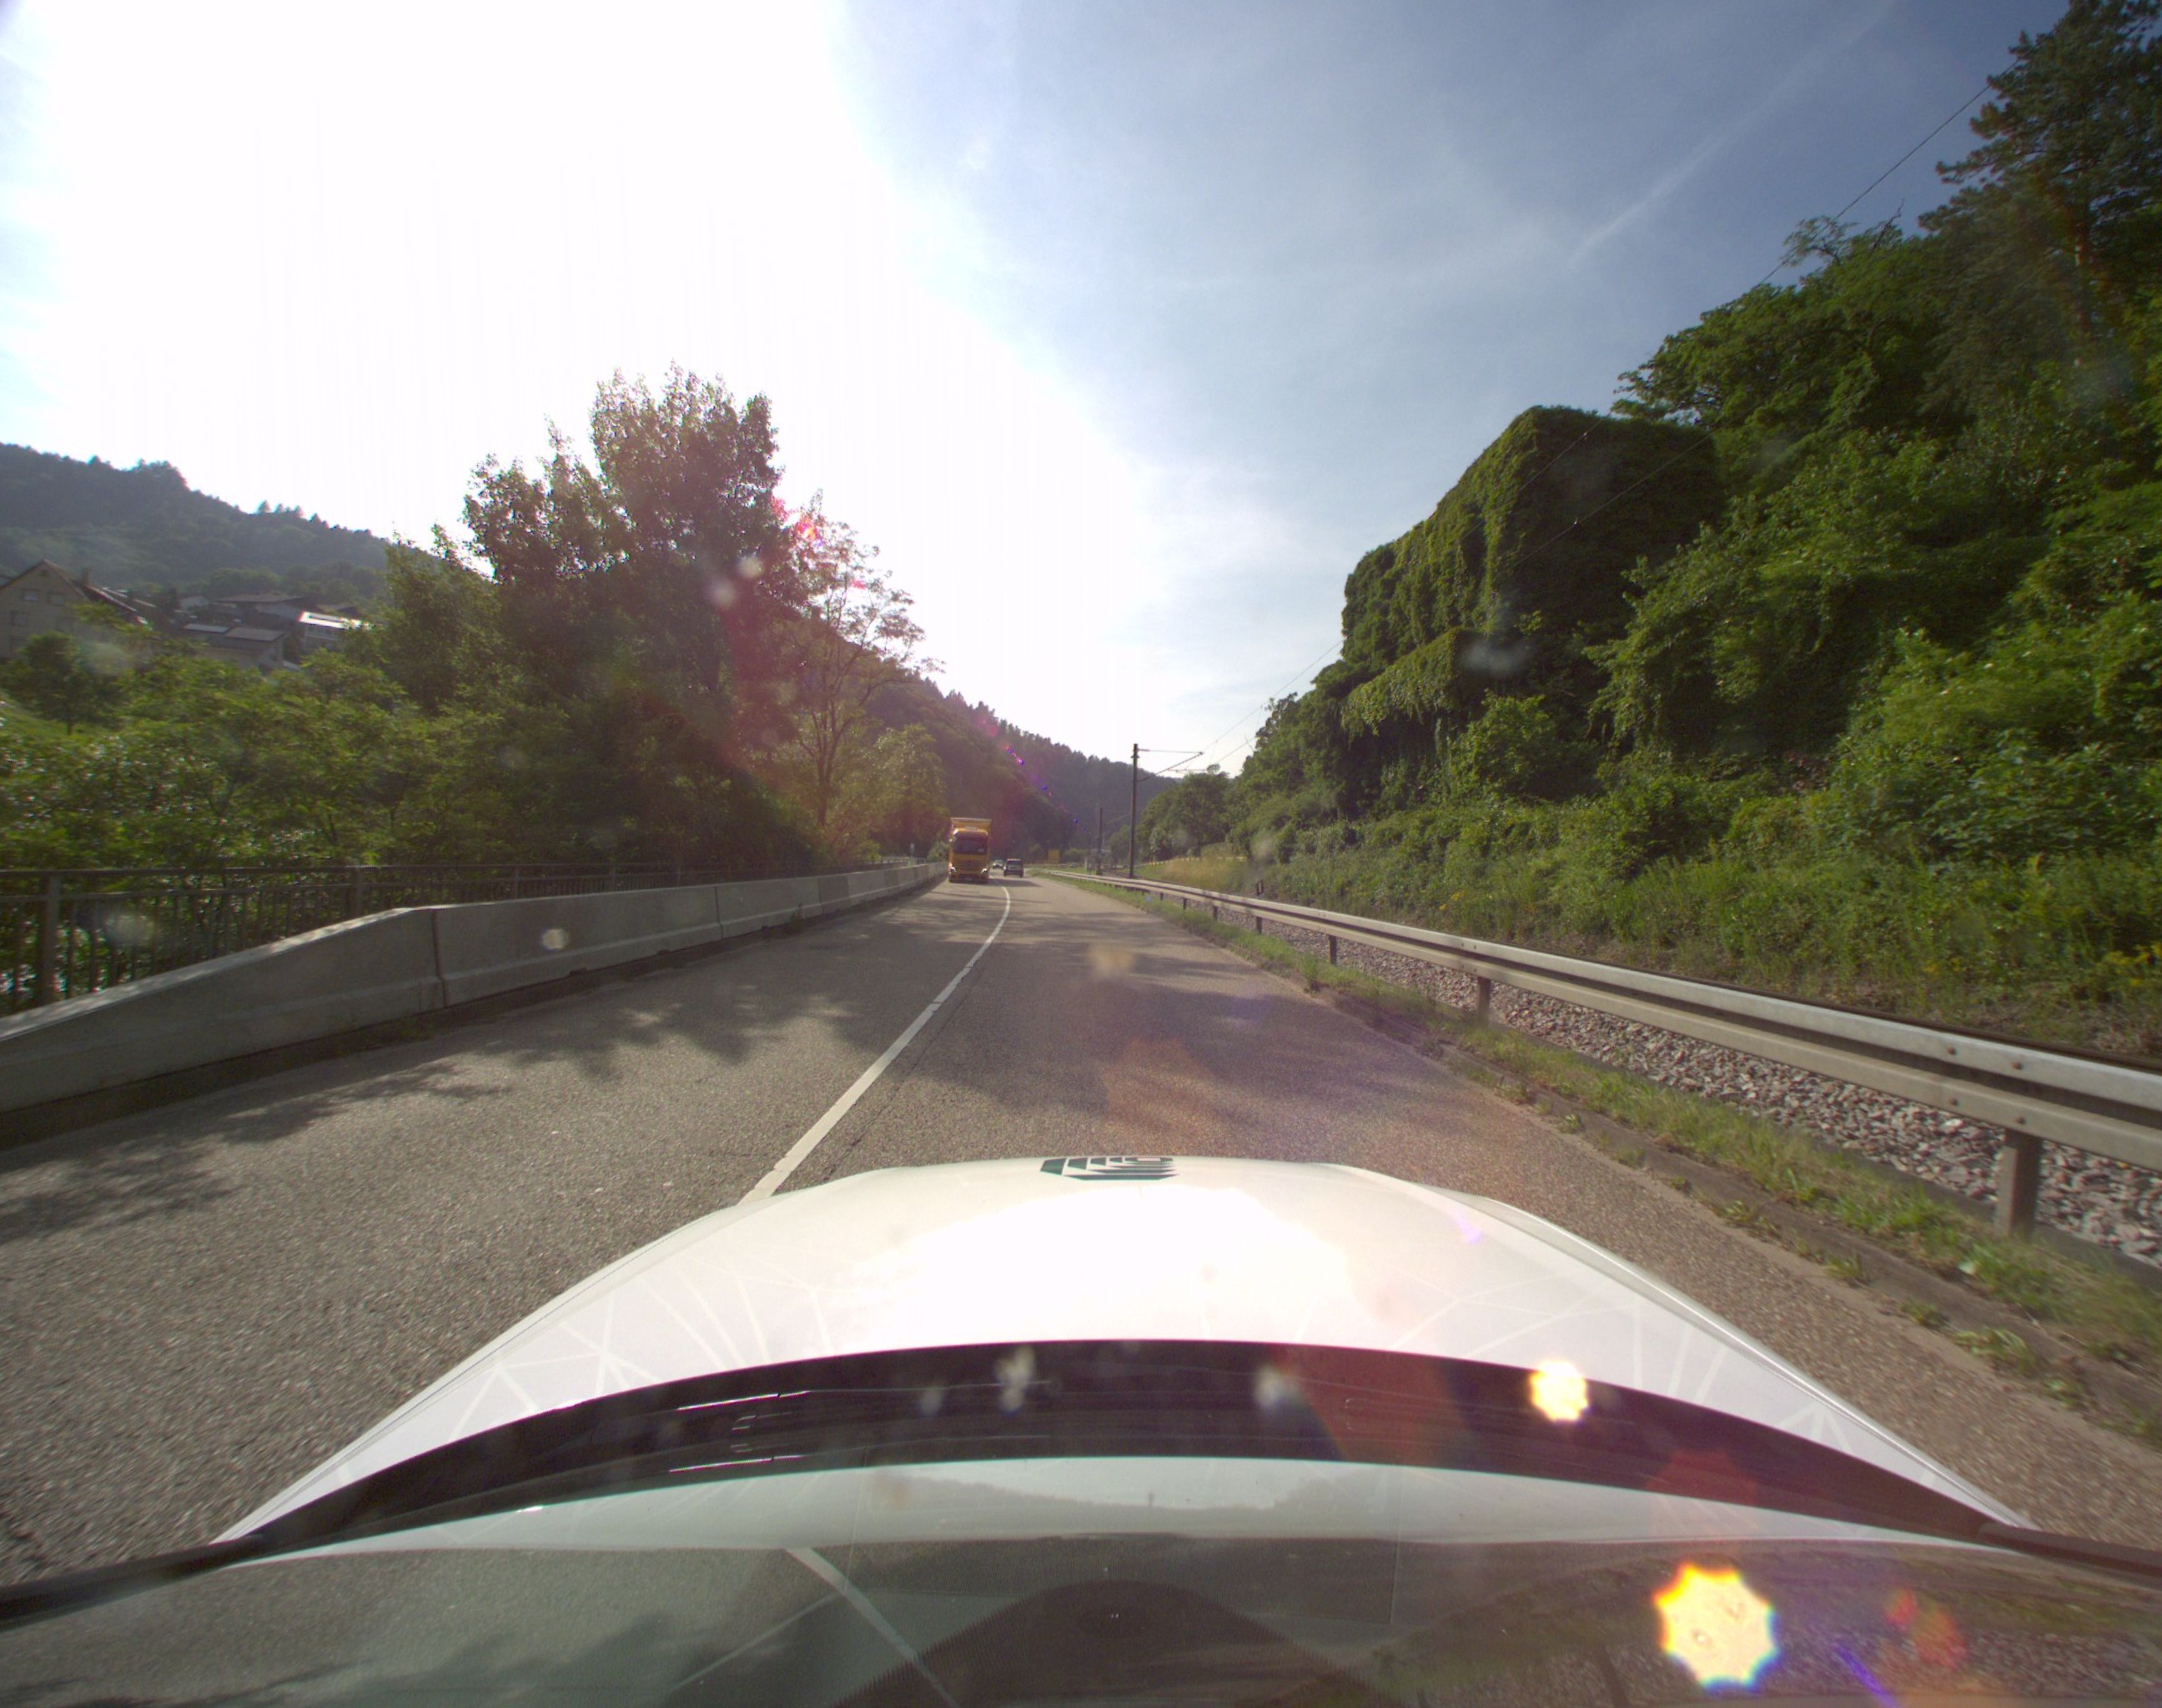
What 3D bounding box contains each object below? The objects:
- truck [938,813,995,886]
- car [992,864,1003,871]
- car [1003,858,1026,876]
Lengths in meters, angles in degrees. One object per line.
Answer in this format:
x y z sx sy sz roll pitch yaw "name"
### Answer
-7.946 -0.143 55.666 3.369 4.384 12.665 -1 -1 -9 "truck"
-15.126 2.432 147.222 1.467 1.084 3.274 3 -1 2 "car"
-6.214 1.233 75.835 1.871 1.656 3.989 0 -1 -8 "car"
